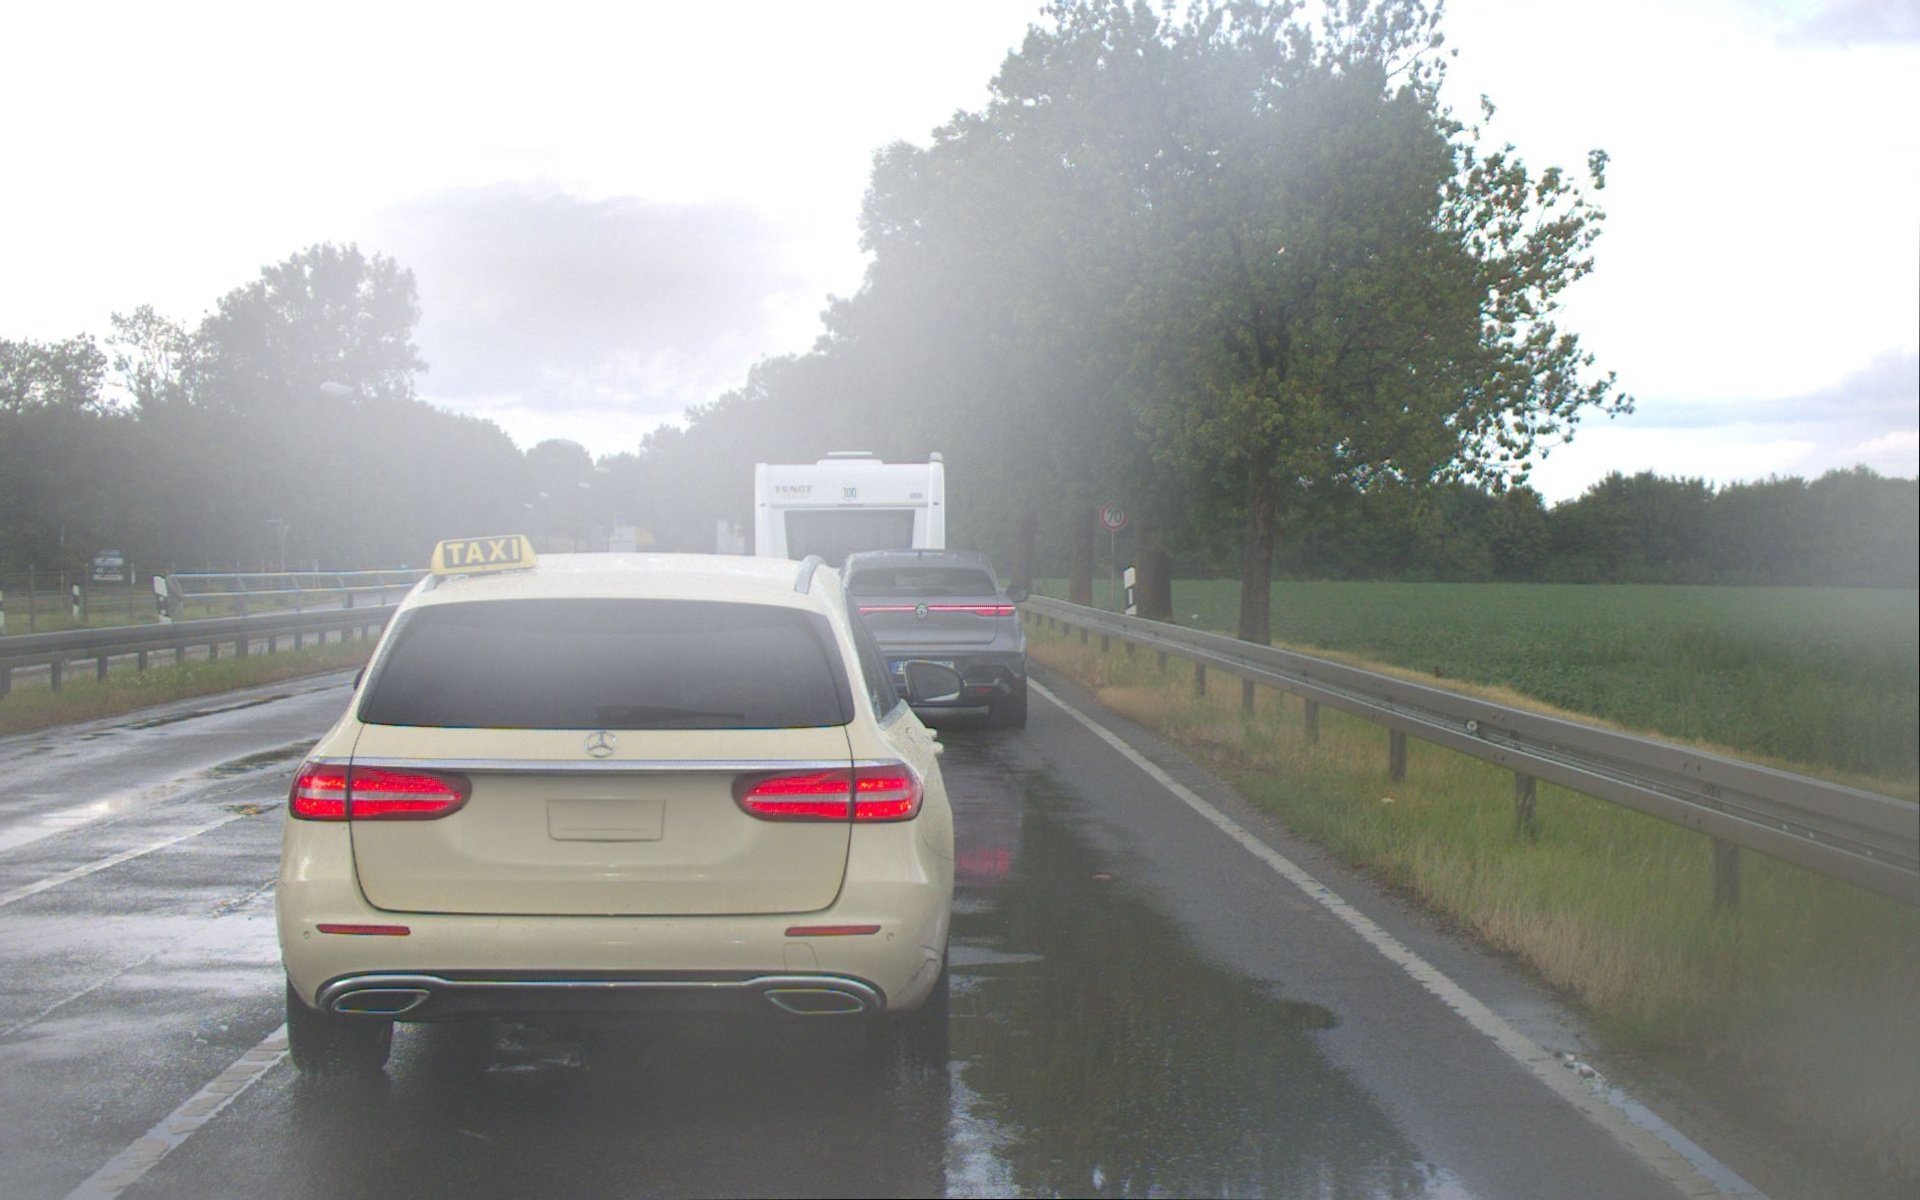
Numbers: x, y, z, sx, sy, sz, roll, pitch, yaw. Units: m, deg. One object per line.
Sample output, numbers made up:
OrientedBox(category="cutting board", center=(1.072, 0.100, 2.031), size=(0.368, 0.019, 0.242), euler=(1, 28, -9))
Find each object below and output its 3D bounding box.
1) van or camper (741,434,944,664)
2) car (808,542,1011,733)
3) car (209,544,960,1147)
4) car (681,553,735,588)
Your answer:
OrientedBox(category="van or camper", center=(-1.415, -0.667, 43.206), size=(2.350, 2.671, 5.769), euler=(1, 1, -1))
OrientedBox(category="car", center=(-0.432, 0.268, 29.706), size=(1.627, 1.524, 3.933), euler=(0, 1, -1))
OrientedBox(category="car", center=(-0.933, 0.580, 10.599), size=(1.825, 1.480, 4.145), euler=(0, 1, 0))
OrientedBox(category="car", center=(-9.462, -1.117, 129.197), size=(1.758, 1.265, 4.000), euler=(0, 1, -1))
